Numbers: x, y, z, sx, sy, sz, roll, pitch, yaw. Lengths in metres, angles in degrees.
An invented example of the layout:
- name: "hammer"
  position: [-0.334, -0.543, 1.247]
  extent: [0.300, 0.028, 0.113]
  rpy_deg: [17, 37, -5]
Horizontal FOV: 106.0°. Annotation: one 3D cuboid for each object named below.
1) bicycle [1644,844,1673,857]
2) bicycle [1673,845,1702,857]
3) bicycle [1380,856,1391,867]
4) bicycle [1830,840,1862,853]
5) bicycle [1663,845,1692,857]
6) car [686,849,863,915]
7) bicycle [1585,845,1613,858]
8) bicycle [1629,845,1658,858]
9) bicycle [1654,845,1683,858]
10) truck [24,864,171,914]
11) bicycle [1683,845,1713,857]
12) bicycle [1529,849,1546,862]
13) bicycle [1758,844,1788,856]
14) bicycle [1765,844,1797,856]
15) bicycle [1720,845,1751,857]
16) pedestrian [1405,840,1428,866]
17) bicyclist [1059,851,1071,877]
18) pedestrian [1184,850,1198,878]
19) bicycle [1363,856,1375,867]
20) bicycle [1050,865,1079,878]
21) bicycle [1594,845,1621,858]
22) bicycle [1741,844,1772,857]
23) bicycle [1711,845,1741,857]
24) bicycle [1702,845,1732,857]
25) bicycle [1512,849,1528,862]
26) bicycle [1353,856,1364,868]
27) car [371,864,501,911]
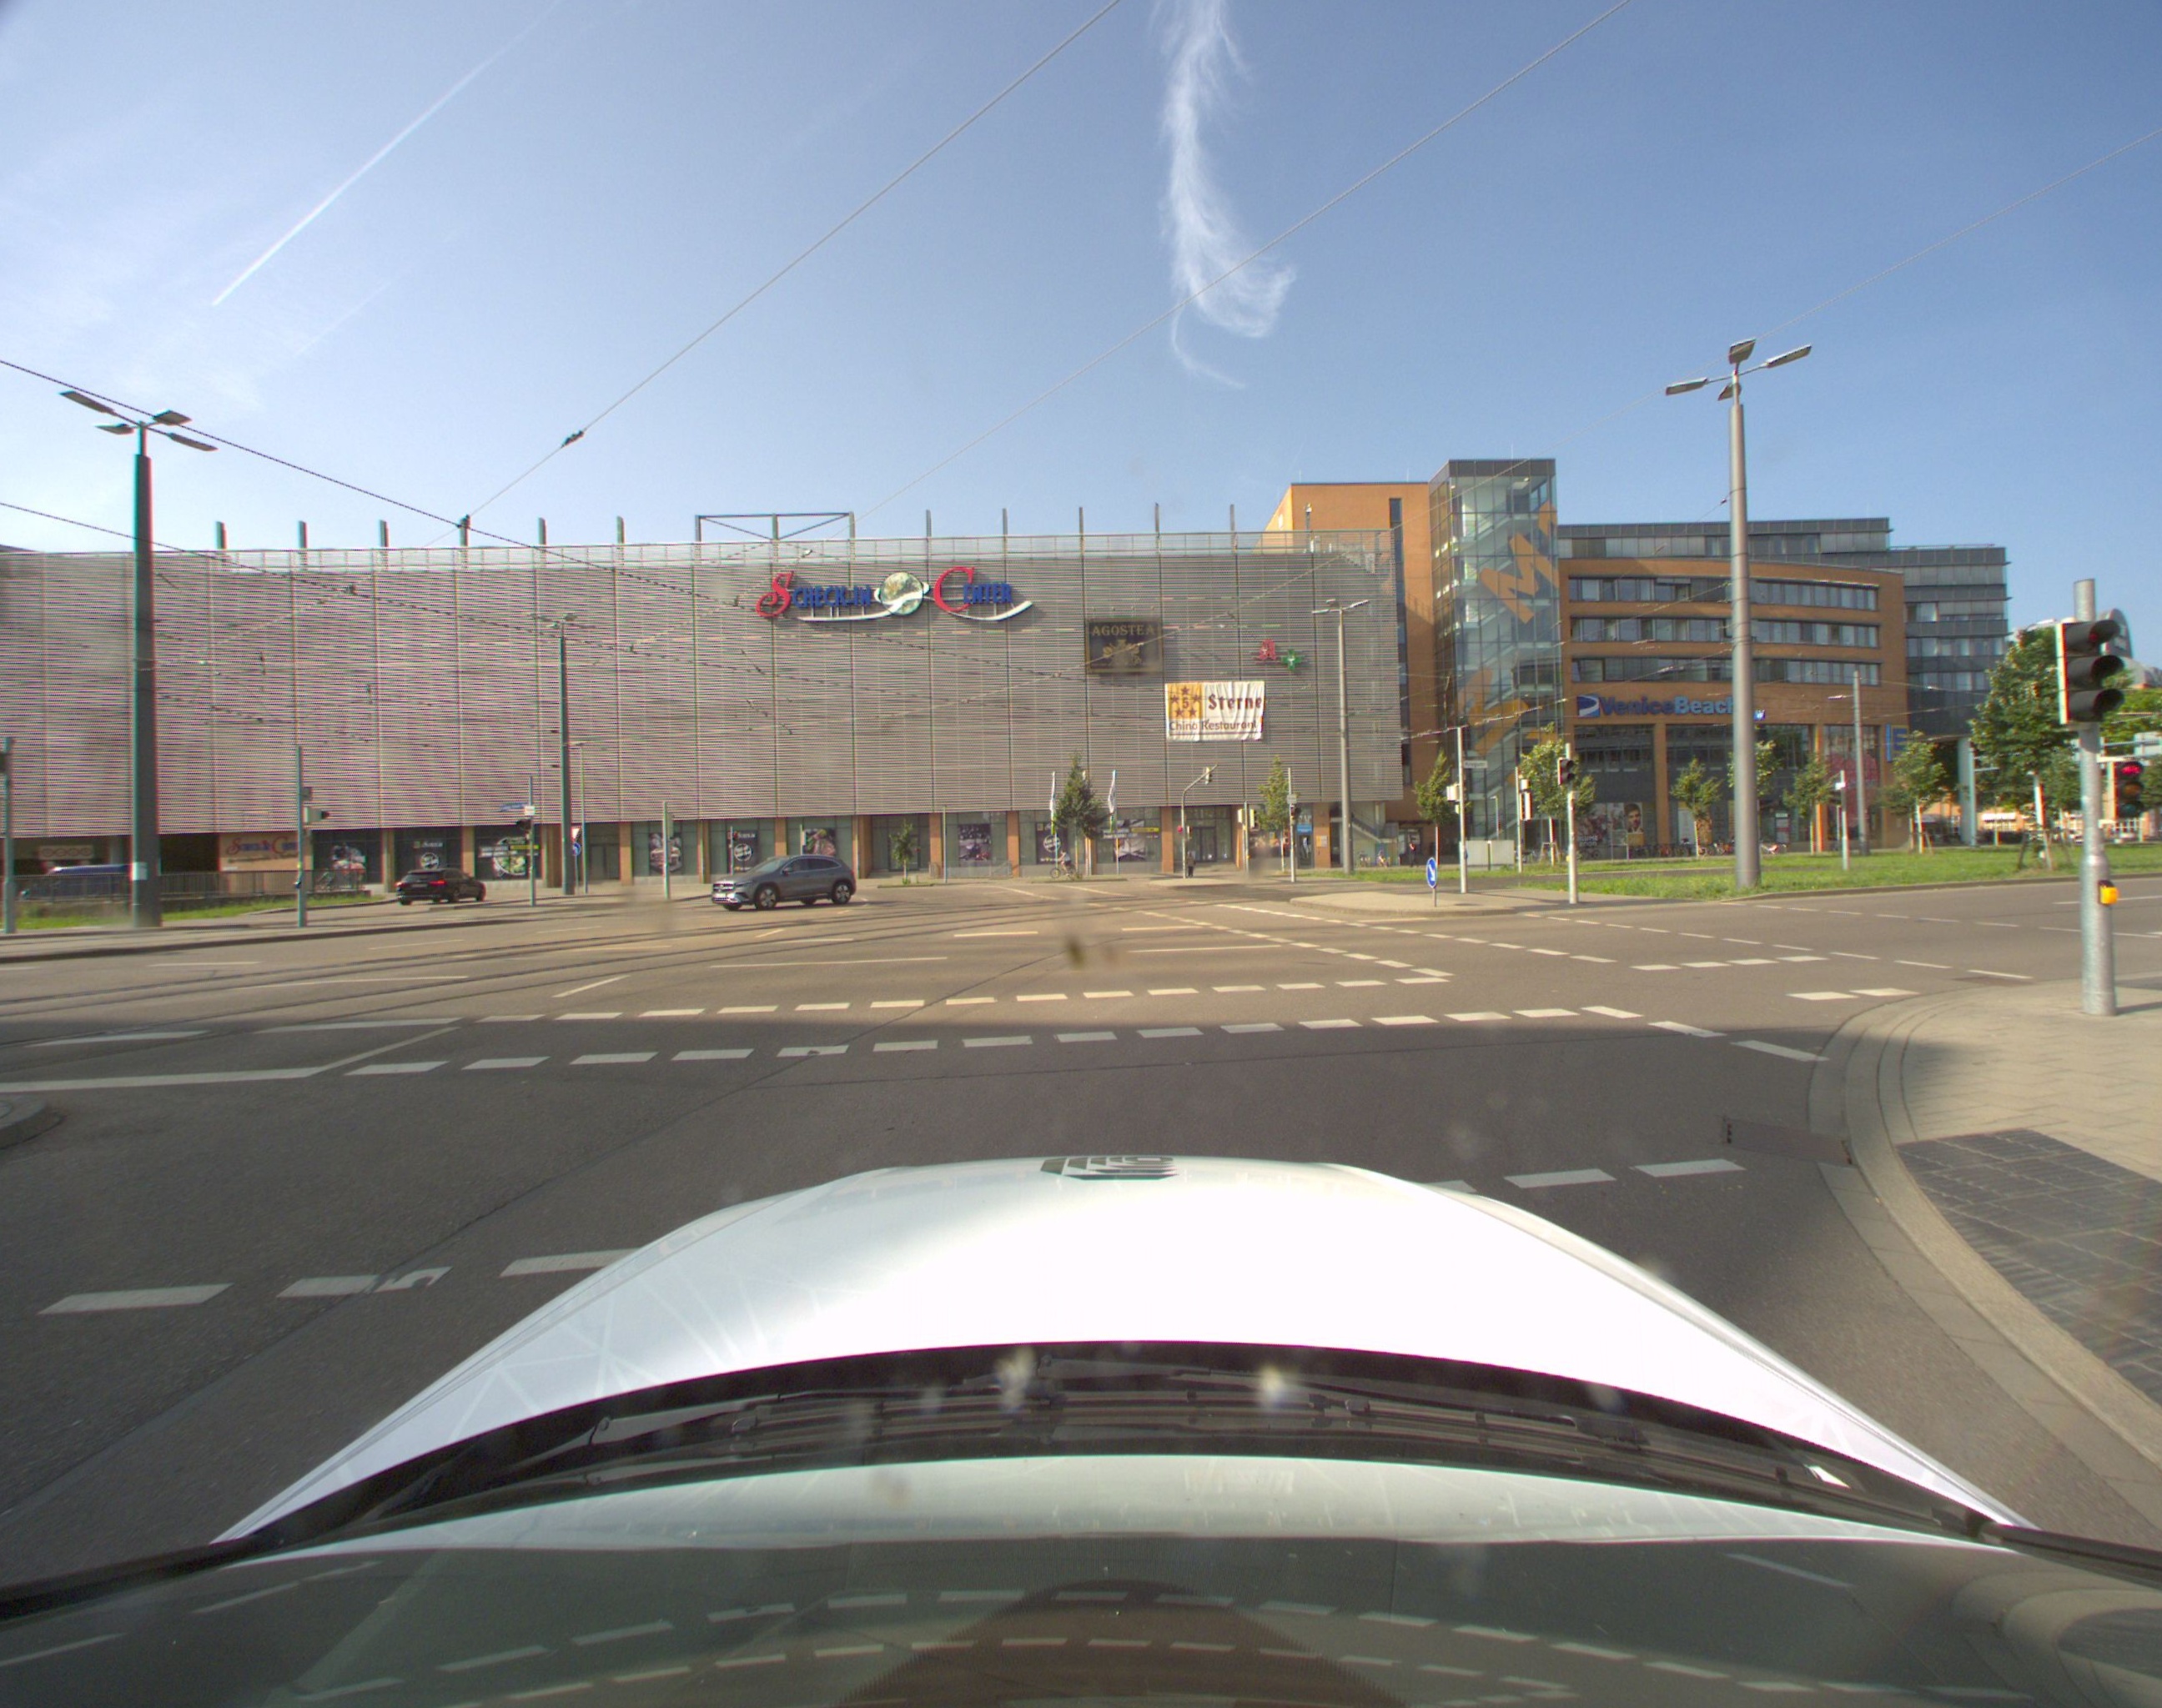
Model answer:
- name: "bicycle"
  position: [44.083, -0.246, 62.158]
  extent: [0.571, 0.921, 2.050]
  rpy_deg: [-2, 0, -6]
- name: "bicycle"
  position: [46.578, -0.238, 62.567]
  extent: [0.571, 0.921, 2.050]
  rpy_deg: [-2, 0, -6]
- name: "bicycle"
  position: [20.801, 0.522, 55.586]
  extent: [0.358, 0.752, 1.024]
  rpy_deg: [-2, 0, 0]
- name: "bicycle"
  position: [55.165, -0.530, 58.753]
  extent: [0.705, 0.907, 1.680]
  rpy_deg: [-1, 0, -1]
- name: "bicycle"
  position: [45.748, -0.230, 62.452]
  extent: [0.571, 0.921, 2.050]
  rpy_deg: [-2, 0, -6]
- name: "car"
  position: [-9.102, 0.784, 24.638]
  extent: [1.930, 1.783, 4.845]
  rpy_deg: [-1, -1, 32]
- name: "bicycle"
  position: [39.129, -0.161, 61.533]
  extent: [0.571, 0.921, 2.050]
  rpy_deg: [-2, 0, -6]
- name: "bicycle"
  position: [42.767, -0.177, 61.935]
  extent: [0.571, 0.921, 2.050]
  rpy_deg: [-2, 0, -6]
- name: "bicycle"
  position: [44.895, -0.199, 62.278]
  extent: [0.571, 0.921, 2.050]
  rpy_deg: [-2, 0, -6]
- name: "truck"
  position: [-50.832, 1.778, 42.211]
  extent: [4.531, 2.322, 2.203]
  rpy_deg: [-2, 0, -6]
- name: "bicycle"
  position: [47.486, -0.222, 62.689]
  extent: [0.571, 0.921, 2.050]
  rpy_deg: [-2, 0, -6]
- name: "bicycle"
  position: [32.418, 0.094, 57.884]
  extent: [0.255, 0.830, 1.466]
  rpy_deg: [0, 2, -5]
- name: "bicycle"
  position: [54.197, -0.276, 63.786]
  extent: [0.379, 0.921, 2.050]
  rpy_deg: [-2, 0, -6]
- name: "bicycle"
  position: [54.920, -0.279, 63.921]
  extent: [0.571, 0.921, 2.050]
  rpy_deg: [-2, 0, -6]
- name: "bicycle"
  position: [50.927, -0.234, 63.364]
  extent: [0.571, 0.921, 2.050]
  rpy_deg: [-2, 0, -6]
- name: "pedestrian"
  position: [22.696, -0.045, 55.046]
  extent: [1.169, 1.719, 0.819]
  rpy_deg: [-2, 0, -2]
- name: "bicyclist"
  position: [-1.029, 0.629, 51.687]
  extent: [0.710, 1.630, 0.568]
  rpy_deg: [0, -1, -3]
- name: "pedestrian"
  position: [6.509, 0.596, 48.192]
  extent: [0.587, 1.579, 0.762]
  rpy_deg: [-2, -1, -5]
- name: "bicycle"
  position: [19.616, 0.513, 55.568]
  extent: [0.449, 0.752, 1.006]
  rpy_deg: [-2, 0, 0]
- name: "bicycle"
  position: [-1.034, 1.094, 51.695]
  extent: [1.857, 0.779, 0.582]
  rpy_deg: [0, -1, -1]
- name: "bicycle"
  position: [39.854, -0.164, 61.655]
  extent: [0.571, 0.921, 2.050]
  rpy_deg: [-2, 0, -6]
- name: "bicycle"
  position: [52.595, -0.264, 63.426]
  extent: [0.571, 0.921, 2.050]
  rpy_deg: [-2, 0, -6]
- name: "bicycle"
  position: [50.044, -0.238, 63.194]
  extent: [0.571, 0.921, 2.050]
  rpy_deg: [-2, 0, -6]
- name: "bicycle"
  position: [49.173, -0.236, 63.007]
  extent: [0.571, 0.921, 2.050]
  rpy_deg: [-2, 0, -6]
- name: "bicycle"
  position: [31.059, 0.135, 57.621]
  extent: [0.255, 0.887, 1.465]
  rpy_deg: [0, -1, -5]
- name: "bicycle"
  position: [18.950, 0.540, 55.619]
  extent: [0.449, 0.752, 1.006]
  rpy_deg: [-2, 0, 0]
- name: "car"
  position: [-26.269, 1.305, 33.380]
  extent: [1.985, 1.695, 4.003]
  rpy_deg: [-2, 0, 2]
